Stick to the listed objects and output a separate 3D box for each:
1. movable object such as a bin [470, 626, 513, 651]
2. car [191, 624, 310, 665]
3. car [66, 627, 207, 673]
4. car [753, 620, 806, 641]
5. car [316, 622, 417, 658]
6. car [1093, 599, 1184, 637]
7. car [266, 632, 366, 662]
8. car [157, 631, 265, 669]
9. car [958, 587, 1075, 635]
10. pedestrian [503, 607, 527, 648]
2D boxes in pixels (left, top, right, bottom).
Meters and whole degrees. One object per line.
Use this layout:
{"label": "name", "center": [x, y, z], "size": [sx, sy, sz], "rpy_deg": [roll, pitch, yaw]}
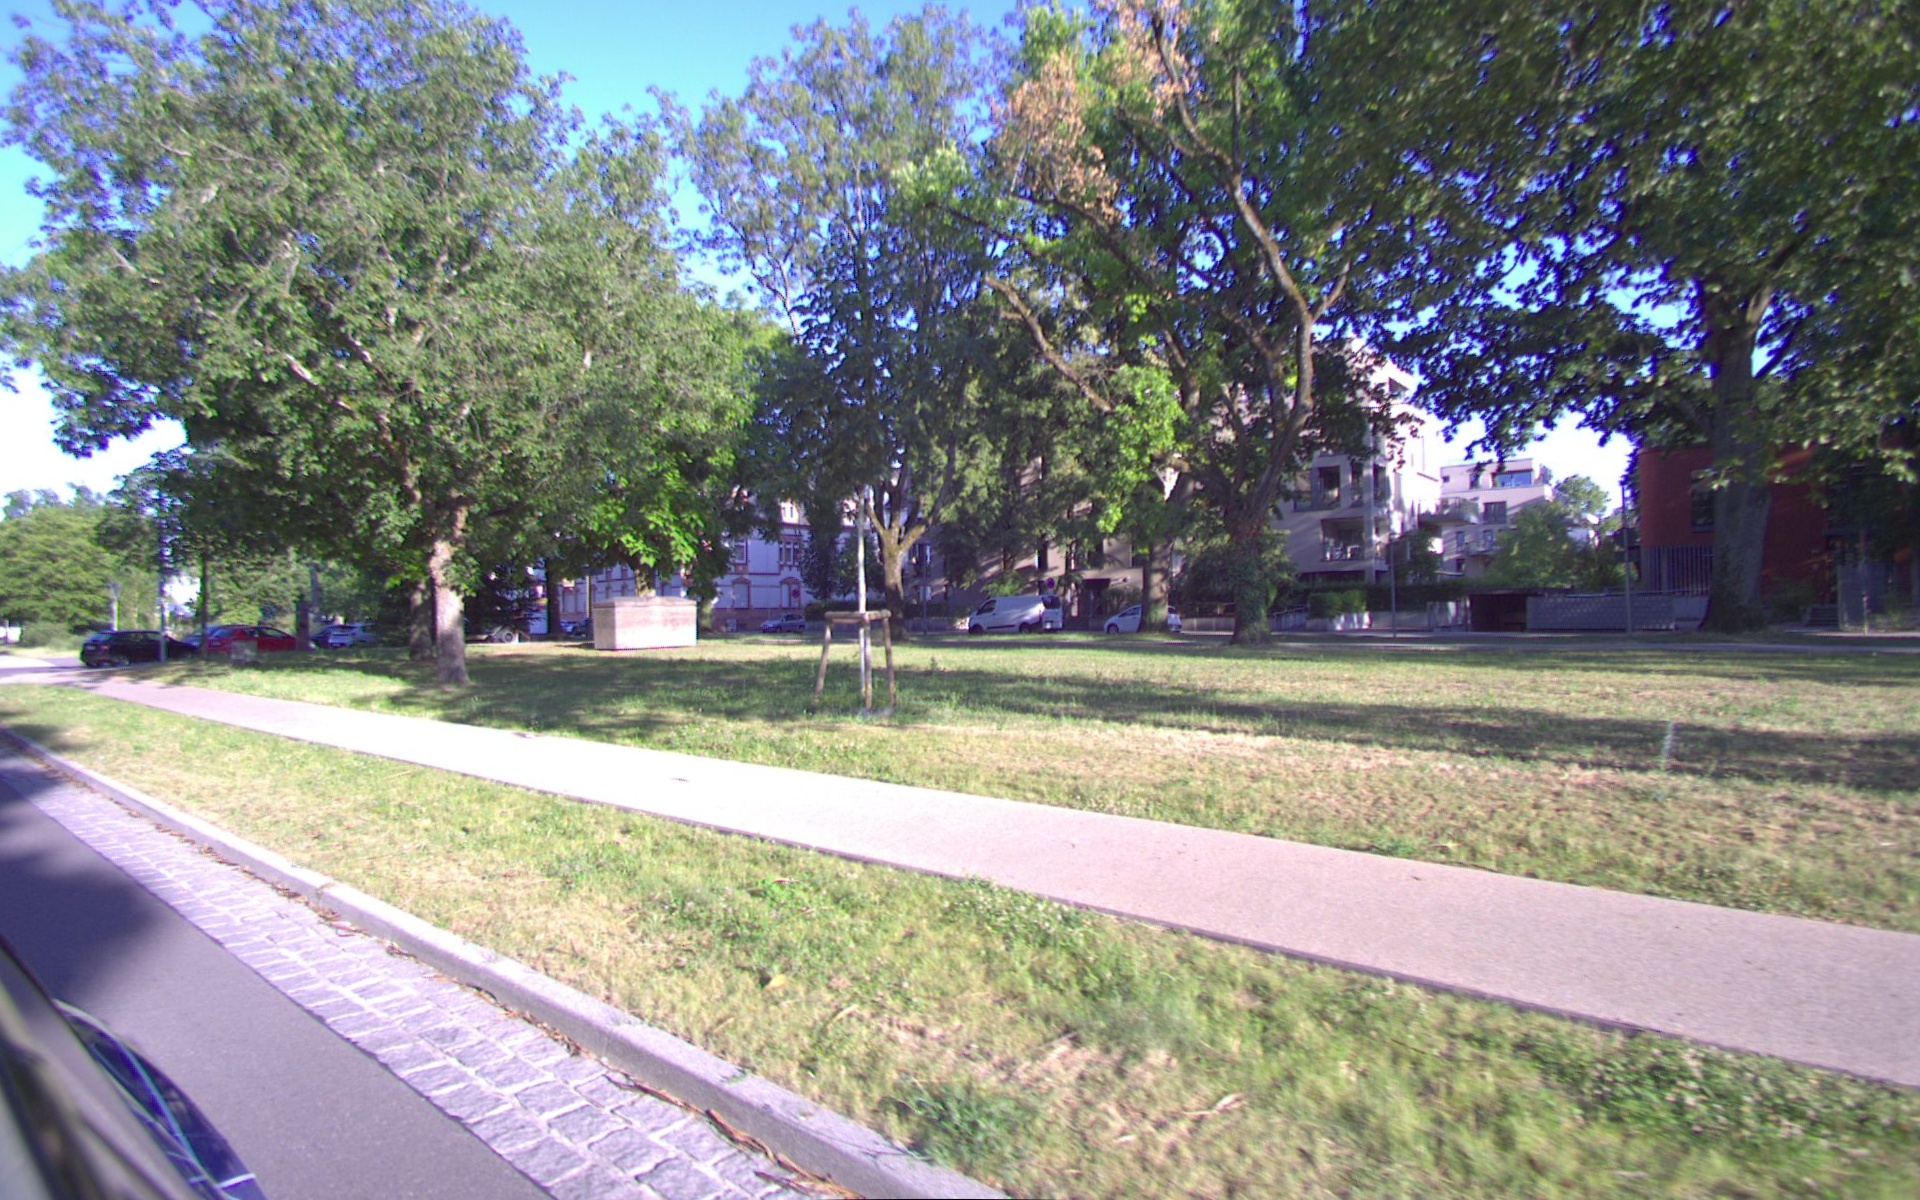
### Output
{"label": "movable object such as a bin", "center": [-19.642, 1.593, 42.432], "size": [0.947, 0.997, 1.317], "rpy_deg": [-2, -1, 35]}
{"label": "car", "center": [-30.842, 1.910, 44.127], "size": [1.874, 1.586, 3.979], "rpy_deg": [0, 0, 16]}
{"label": "car", "center": [-32.343, 1.926, 39.867], "size": [1.874, 1.586, 3.979], "rpy_deg": [0, 0, 16]}
{"label": "car", "center": [-14.642, 2.462, 82.324], "size": [1.890, 1.586, 3.945], "rpy_deg": [0, 0, 41]}
{"label": "car", "center": [-28.923, 1.910, 49.456], "size": [1.877, 1.586, 3.973], "rpy_deg": [0, 0, 20]}
{"label": "car", "center": [8.373, 0.852, 47.595], "size": [3.736, 1.630, 1.973], "rpy_deg": [-2, -1, 42]}
{"label": "car", "center": [-33.853, 2.450, 53.324], "size": [1.825, 1.411, 4.249], "rpy_deg": [-1, -1, 19]}
{"label": "car", "center": [-35.603, 2.340, 48.218], "size": [1.824, 1.643, 3.825], "rpy_deg": [-1, -1, 17]}
{"label": "car", "center": [2.644, 0.533, 48.014], "size": [4.967, 2.130, 2.642], "rpy_deg": [-2, -1, 41]}
{"label": "pedestrian", "center": [-19.024, 1.190, 43.222], "size": [0.671, 1.708, 0.656], "rpy_deg": [-3, -1, 36]}
